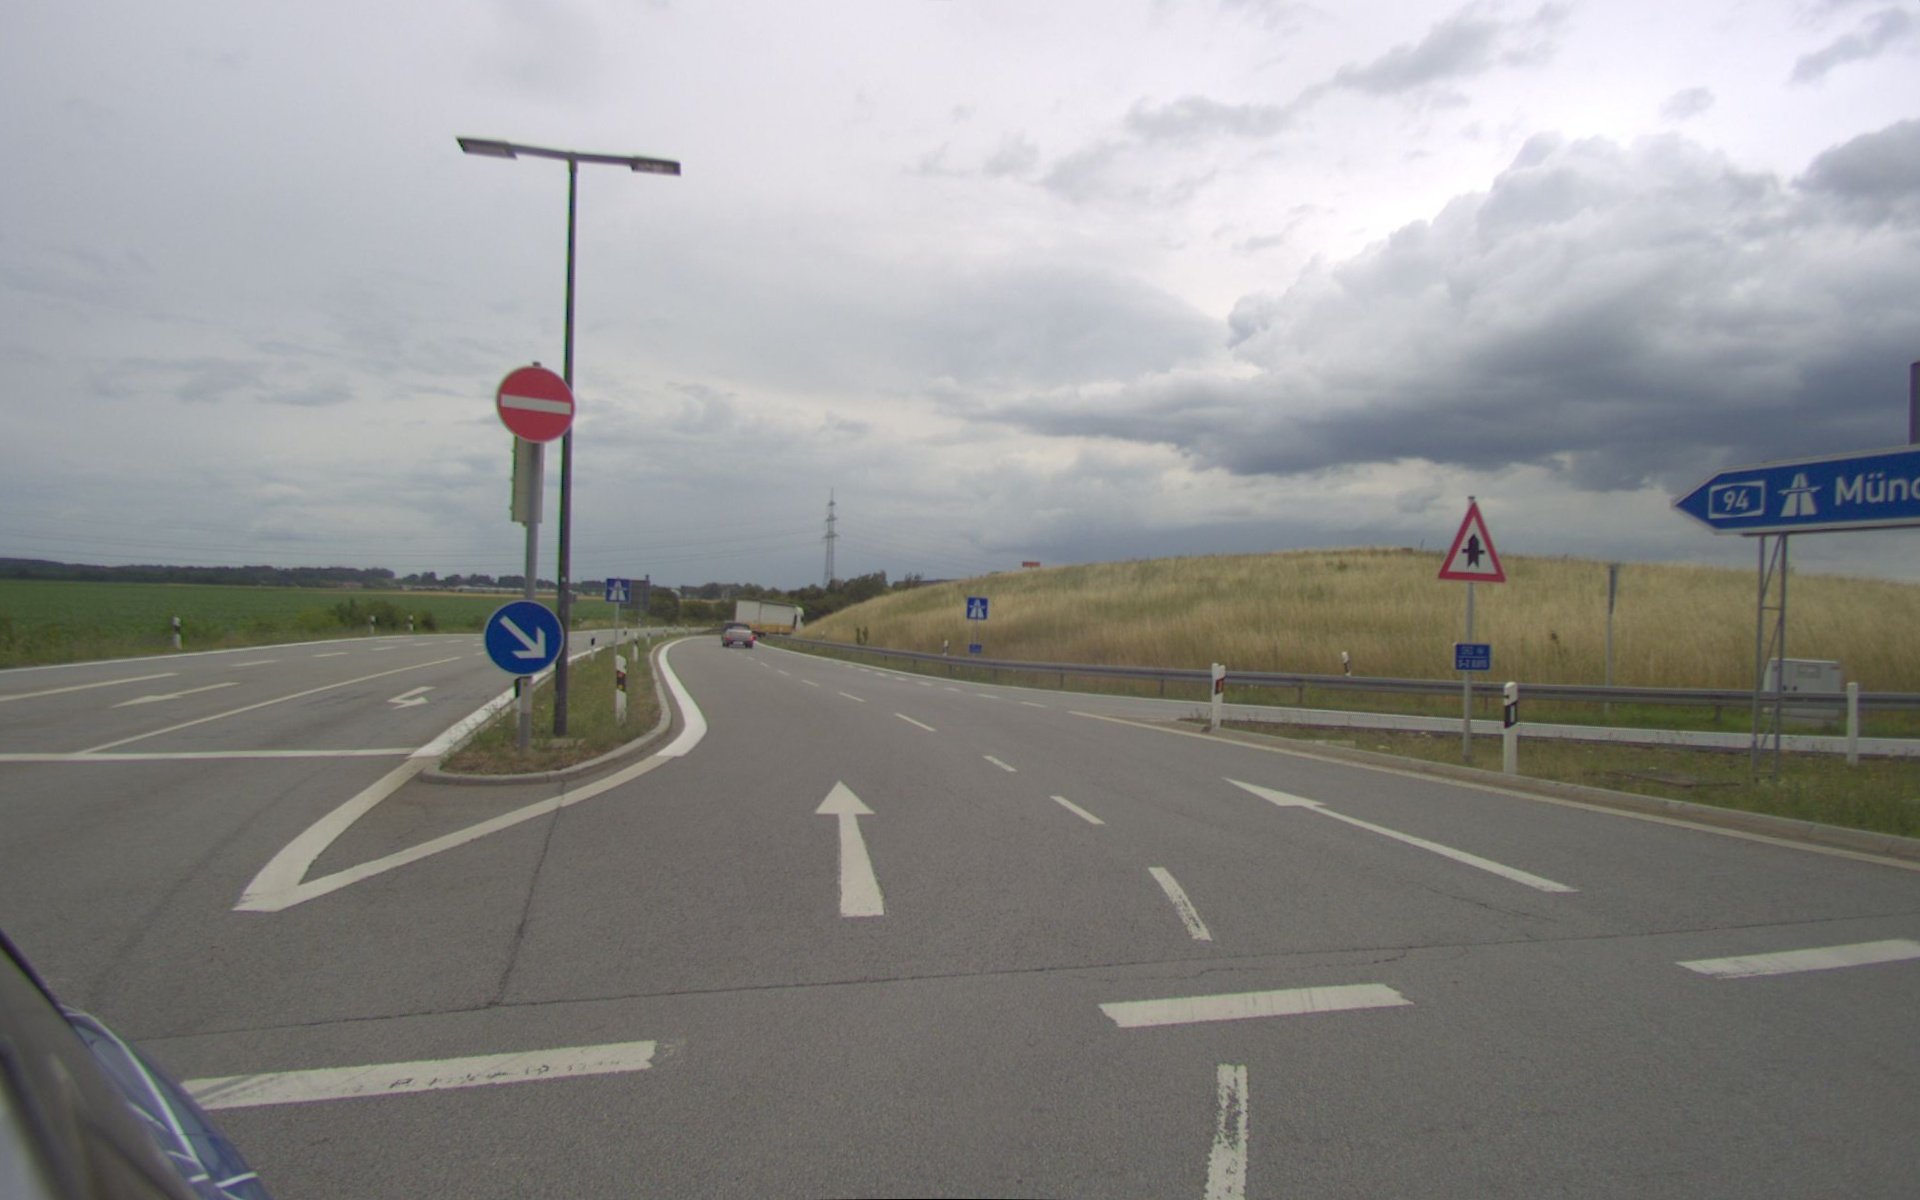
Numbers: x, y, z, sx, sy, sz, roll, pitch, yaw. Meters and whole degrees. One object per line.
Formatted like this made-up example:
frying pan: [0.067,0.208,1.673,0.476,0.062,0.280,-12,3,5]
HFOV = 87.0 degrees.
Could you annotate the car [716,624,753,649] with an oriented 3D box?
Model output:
car: [-14.294,2.325,64.039,1.785,1.532,4.255,1,-2,-19]

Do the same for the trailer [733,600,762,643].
trailer: [-22.392,2.210,106.798,2.656,4.242,13.873,2,-1,-11]

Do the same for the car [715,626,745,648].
car: [-19.632,3.143,86.125,1.965,1.707,4.469,2,-1,-19]
